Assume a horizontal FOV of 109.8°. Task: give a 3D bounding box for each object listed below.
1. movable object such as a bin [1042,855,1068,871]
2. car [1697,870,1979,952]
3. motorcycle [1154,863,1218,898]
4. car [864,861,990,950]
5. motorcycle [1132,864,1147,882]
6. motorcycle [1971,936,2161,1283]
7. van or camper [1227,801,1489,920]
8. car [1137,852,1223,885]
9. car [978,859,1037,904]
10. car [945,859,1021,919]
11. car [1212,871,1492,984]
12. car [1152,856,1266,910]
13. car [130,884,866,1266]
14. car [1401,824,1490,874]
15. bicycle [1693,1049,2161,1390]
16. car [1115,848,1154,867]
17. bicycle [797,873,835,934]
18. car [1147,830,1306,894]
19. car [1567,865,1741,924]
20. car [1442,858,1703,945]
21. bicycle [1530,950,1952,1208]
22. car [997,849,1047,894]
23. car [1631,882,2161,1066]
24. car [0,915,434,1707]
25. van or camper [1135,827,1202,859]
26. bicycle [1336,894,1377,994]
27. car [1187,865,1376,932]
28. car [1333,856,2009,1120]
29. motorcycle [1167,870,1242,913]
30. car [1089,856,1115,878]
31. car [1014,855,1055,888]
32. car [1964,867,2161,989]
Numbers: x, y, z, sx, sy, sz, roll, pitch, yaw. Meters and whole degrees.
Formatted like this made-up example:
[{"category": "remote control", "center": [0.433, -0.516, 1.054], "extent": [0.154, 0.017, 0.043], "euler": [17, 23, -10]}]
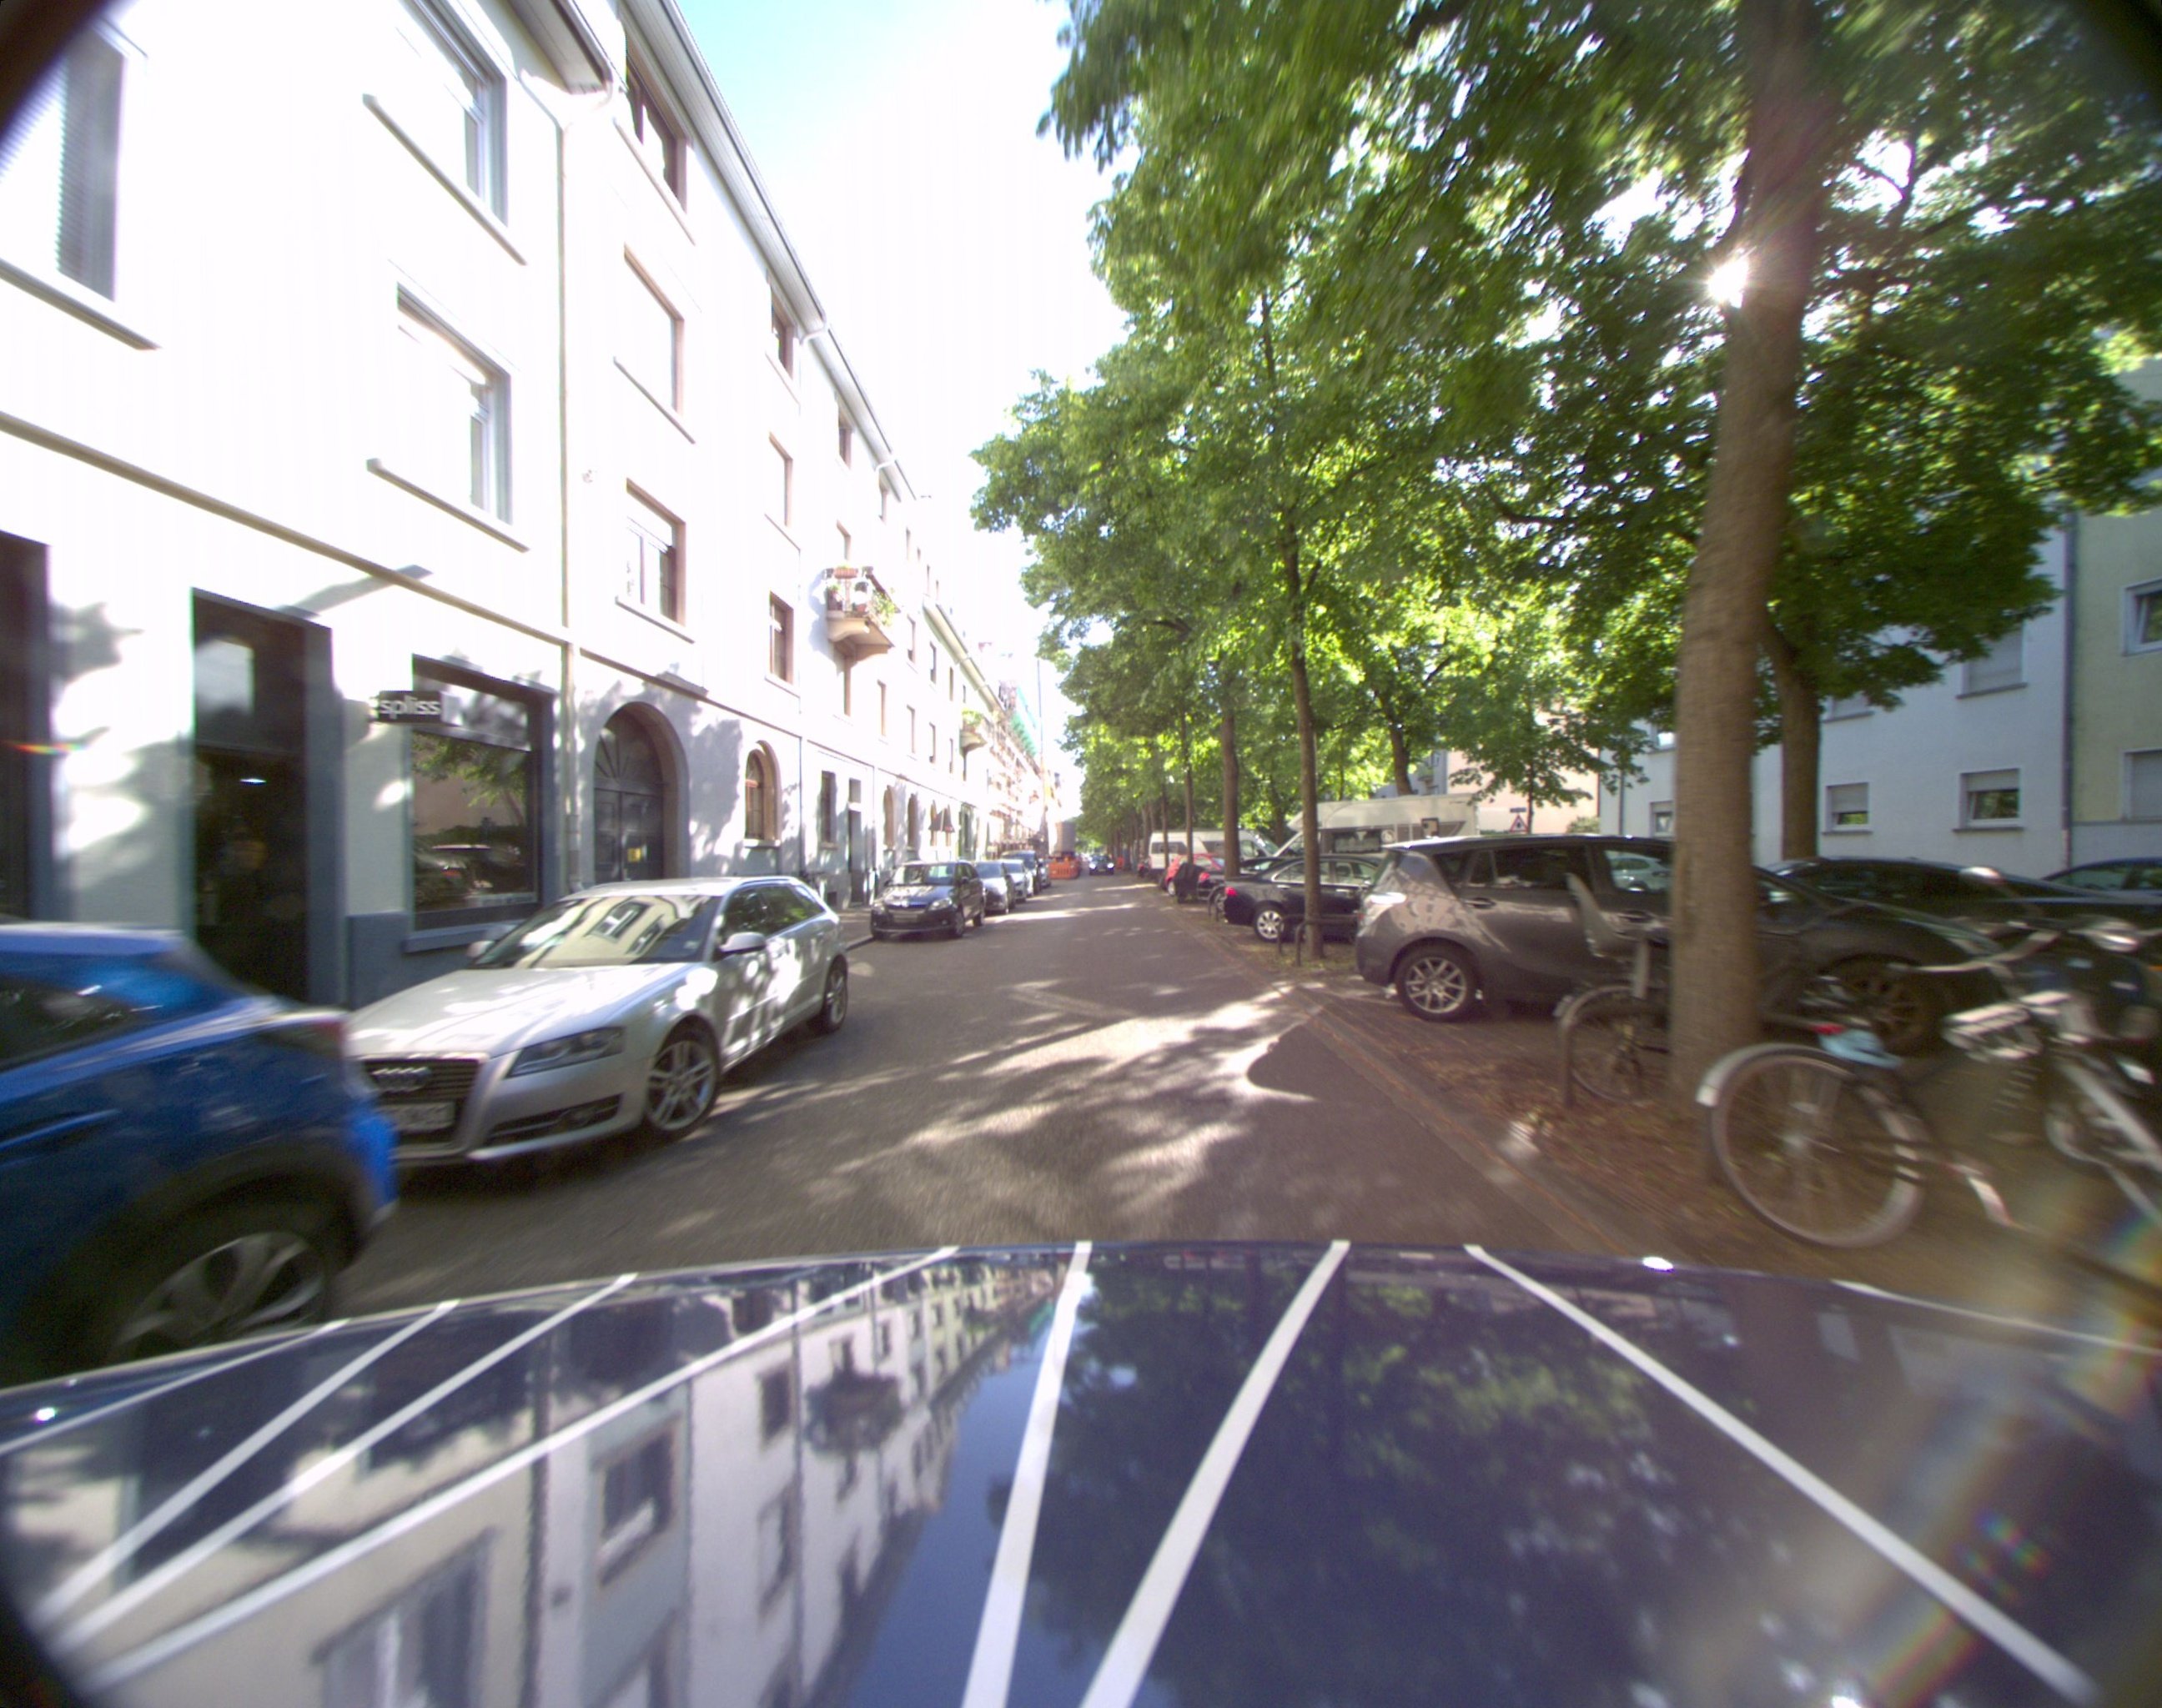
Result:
[{"category": "movable object such as a bin", "center": [-2.561, 0.835, 74.307], "extent": [1.872, 1.518, 1.631], "euler": [1, 0, 35]}, {"category": "car", "center": [15.715, 1.098, 16.175], "extent": [1.648, 1.391, 4.304], "euler": [-2, 0, -1]}, {"category": "motorcycle", "center": [4.097, 1.033, 29.809], "extent": [2.326, 1.327, 0.968], "euler": [0, 0, -8]}, {"category": "car", "center": [-2.968, 0.931, 15.471], "extent": [1.584, 1.541, 4.042], "euler": [-1, 0, 2]}, {"category": "motorcycle", "center": [4.304, 1.372, 55.934], "extent": [0.631, 1.317, 2.231], "euler": [0, 0, 16]}, {"category": "motorcycle", "center": [4.811, 1.086, 3.605], "extent": [1.518, 1.247, 0.642], "euler": [0, 0, -36]}, {"category": "van or camper", "center": [7.419, 0.196, 20.576], "extent": [6.290, 2.808, 2.412], "euler": [-1, 0, 30]}, {"category": "car", "center": [5.211, 0.768, 40.088], "extent": [4.090, 1.516, 1.705], "euler": [-4, -2, 31]}, {"category": "car", "center": [-2.504, 0.902, 26.764], "extent": [1.611, 1.412, 4.568], "euler": [0, 0, 0]}, {"category": "car", "center": [-2.642, 0.904, 21.173], "extent": [1.603, 1.484, 3.966], "euler": [0, 0, 0]}, {"category": "car", "center": [4.342, 1.065, 12.460], "extent": [4.008, 1.465, 1.630], "euler": [1, 0, 36]}, {"category": "car", "center": [4.223, 0.916, 25.624], "extent": [1.667, 1.608, 3.870], "euler": [1, 0, -31]}, {"category": "car", "center": [-3.056, 1.018, 5.332], "extent": [1.774, 1.423, 4.291], "euler": [-1, 0, 1]}, {"category": "car", "center": [15.920, -0.203, 33.439], "extent": [1.998, 2.002, 4.000], "euler": [1, 0, 1]}, {"category": "bicycle", "center": [3.351, 1.240, 2.621], "extent": [1.900, 0.913, 0.379], "euler": [-1, 1, 21]}, {"category": "car", "center": [6.498, 0.418, 92.305], "extent": [4.386, 2.155, 1.774], "euler": [1, 0, 28]}, {"category": "bicycle", "center": [-5.684, 1.025, 16.350], "extent": [0.408, 1.179, 1.847], "euler": [-1, 0, -8]}, {"category": "car", "center": [6.215, 0.325, 32.922], "extent": [6.310, 2.544, 2.343], "euler": [-1, 1, 33]}, {"category": "car", "center": [16.088, 1.065, 21.630], "extent": [1.754, 1.427, 4.081], "euler": [2, 0, -1]}, {"category": "car", "center": [9.257, 0.842, 14.735], "extent": [3.990, 1.477, 1.833], "euler": [-1, 1, 22]}, {"category": "bicycle", "center": [3.444, 1.139, 4.112], "extent": [1.687, 1.152, 0.379], "euler": [-1, 1, 21]}, {"category": "car", "center": [-2.447, 0.695, 32.173], "extent": [1.776, 1.783, 3.989], "euler": [0, 0, 0]}, {"category": "car", "center": [8.158, 1.033, 7.665], "extent": [4.187, 1.383, 1.822], "euler": [0, 0, 35]}, {"category": "car", "center": [-3.131, 1.008, 0.493], "extent": [1.771, 1.542, 4.183], "euler": [-2, 0, 0]}, {"category": "van or camper", "center": [8.593, -1.064, 74.443], "extent": [6.016, 2.984, 2.404], "euler": [1, 0, 30]}, {"category": "bicycle", "center": [3.639, 1.134, 10.082], "extent": [0.428, 1.124, 1.681], "euler": [0, 0, 17]}, {"category": "car", "center": [4.864, 1.007, 18.652], "extent": [4.145, 1.417, 1.718], "euler": [0, 1, 33]}, {"category": "car", "center": [4.481, 0.888, 6.566], "extent": [4.078, 1.643, 1.866], "euler": [-1, 0, 28]}, {"category": "motorcycle", "center": [3.629, 1.096, 22.344], "extent": [2.151, 1.222, 0.882], "euler": [0, 0, 10]}, {"category": "car", "center": [1.570, 0.903, 55.663], "extent": [1.792, 1.510, 4.001], "euler": [1, 0, 4]}, {"category": "car", "center": [-2.264, 0.826, 37.871], "extent": [1.709, 1.502, 4.284], "euler": [0, 0, 1]}, {"category": "car", "center": [15.821, 1.093, 11.128], "extent": [1.478, 1.667, 3.600], "euler": [3, 0, -1]}]
